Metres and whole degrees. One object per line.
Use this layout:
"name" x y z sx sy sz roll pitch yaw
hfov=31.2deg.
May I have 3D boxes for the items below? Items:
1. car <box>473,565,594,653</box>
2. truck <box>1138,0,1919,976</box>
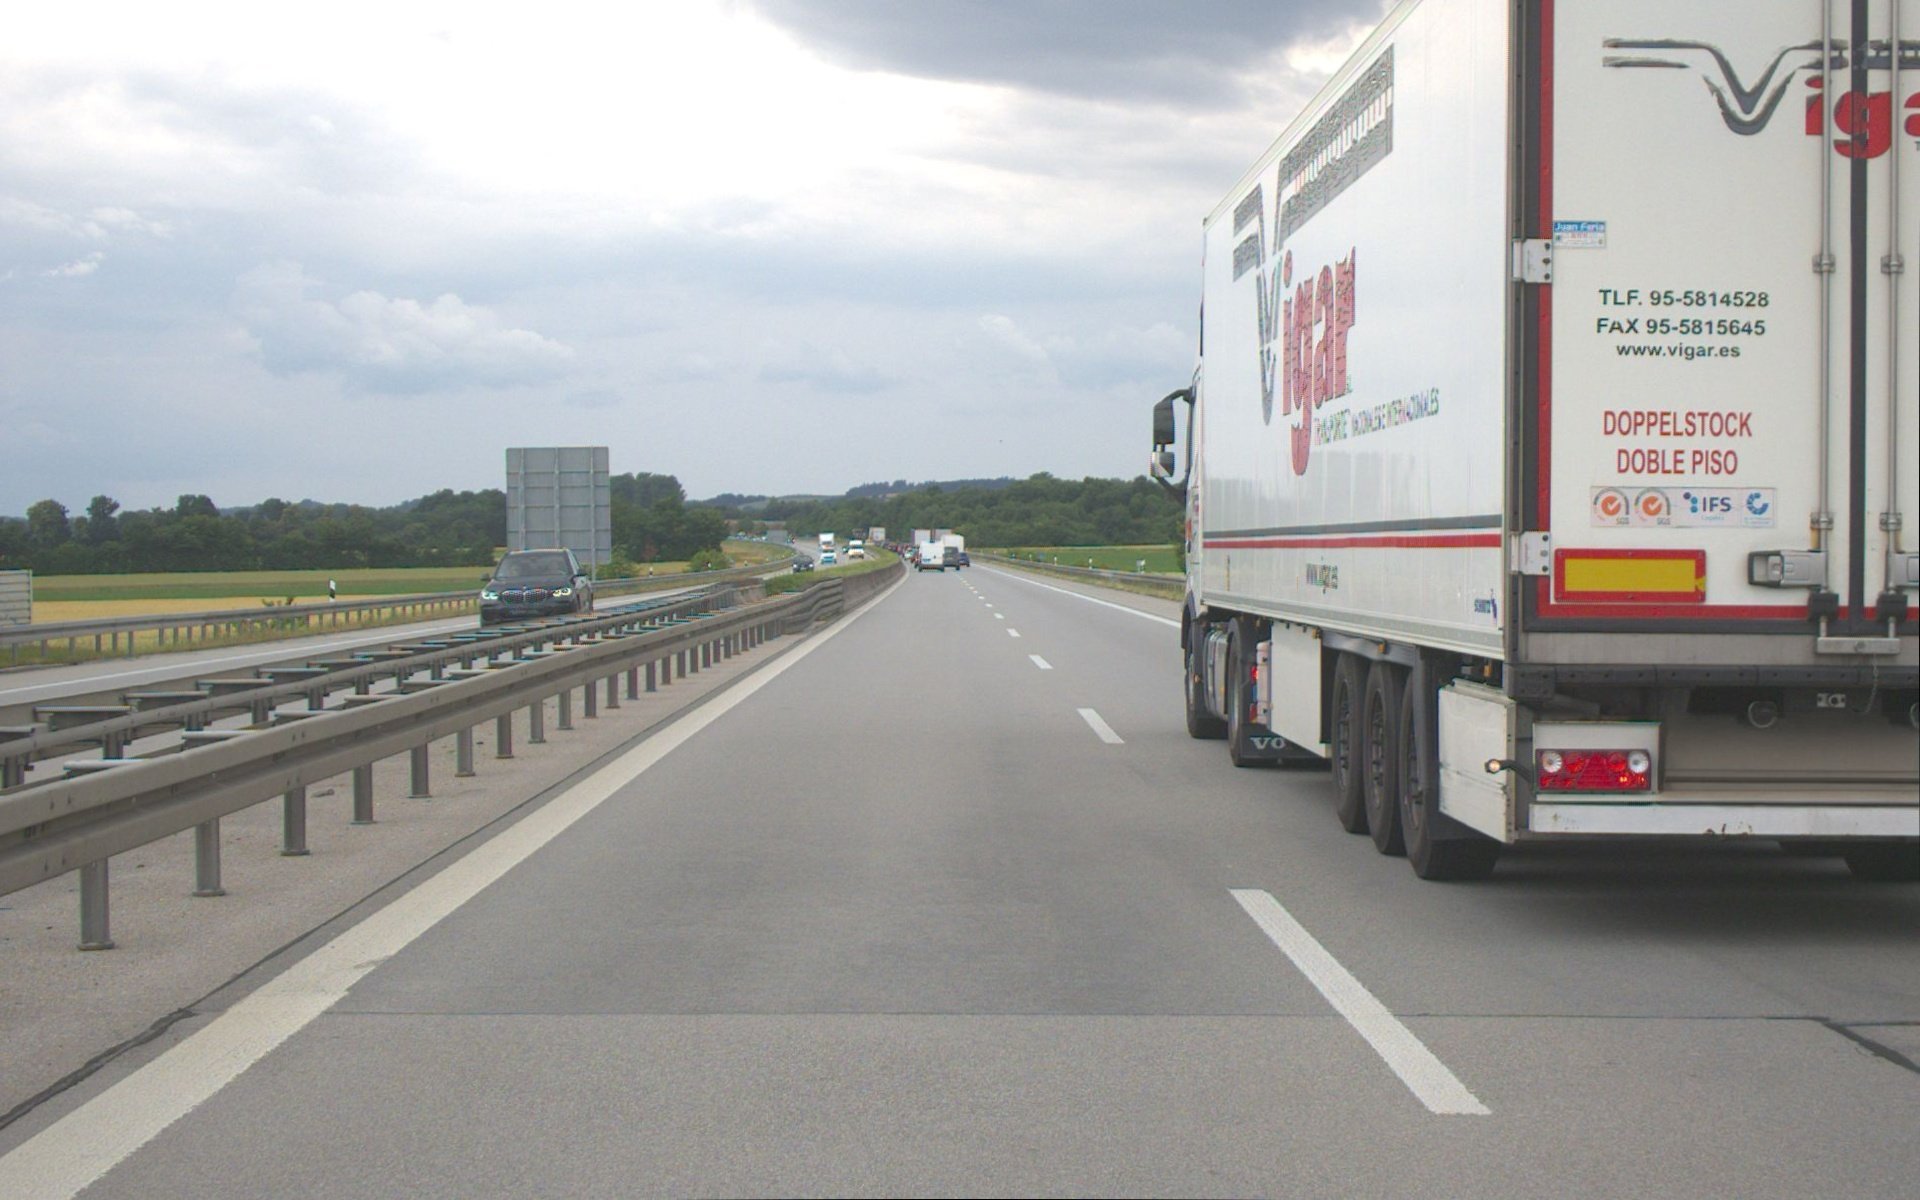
"car" -8.757 0.167 70.836 1.895 1.626 4.174 -3 1 0
"truck" 3.529 -1.043 20.632 3.672 4.397 16.343 -1 1 -1
